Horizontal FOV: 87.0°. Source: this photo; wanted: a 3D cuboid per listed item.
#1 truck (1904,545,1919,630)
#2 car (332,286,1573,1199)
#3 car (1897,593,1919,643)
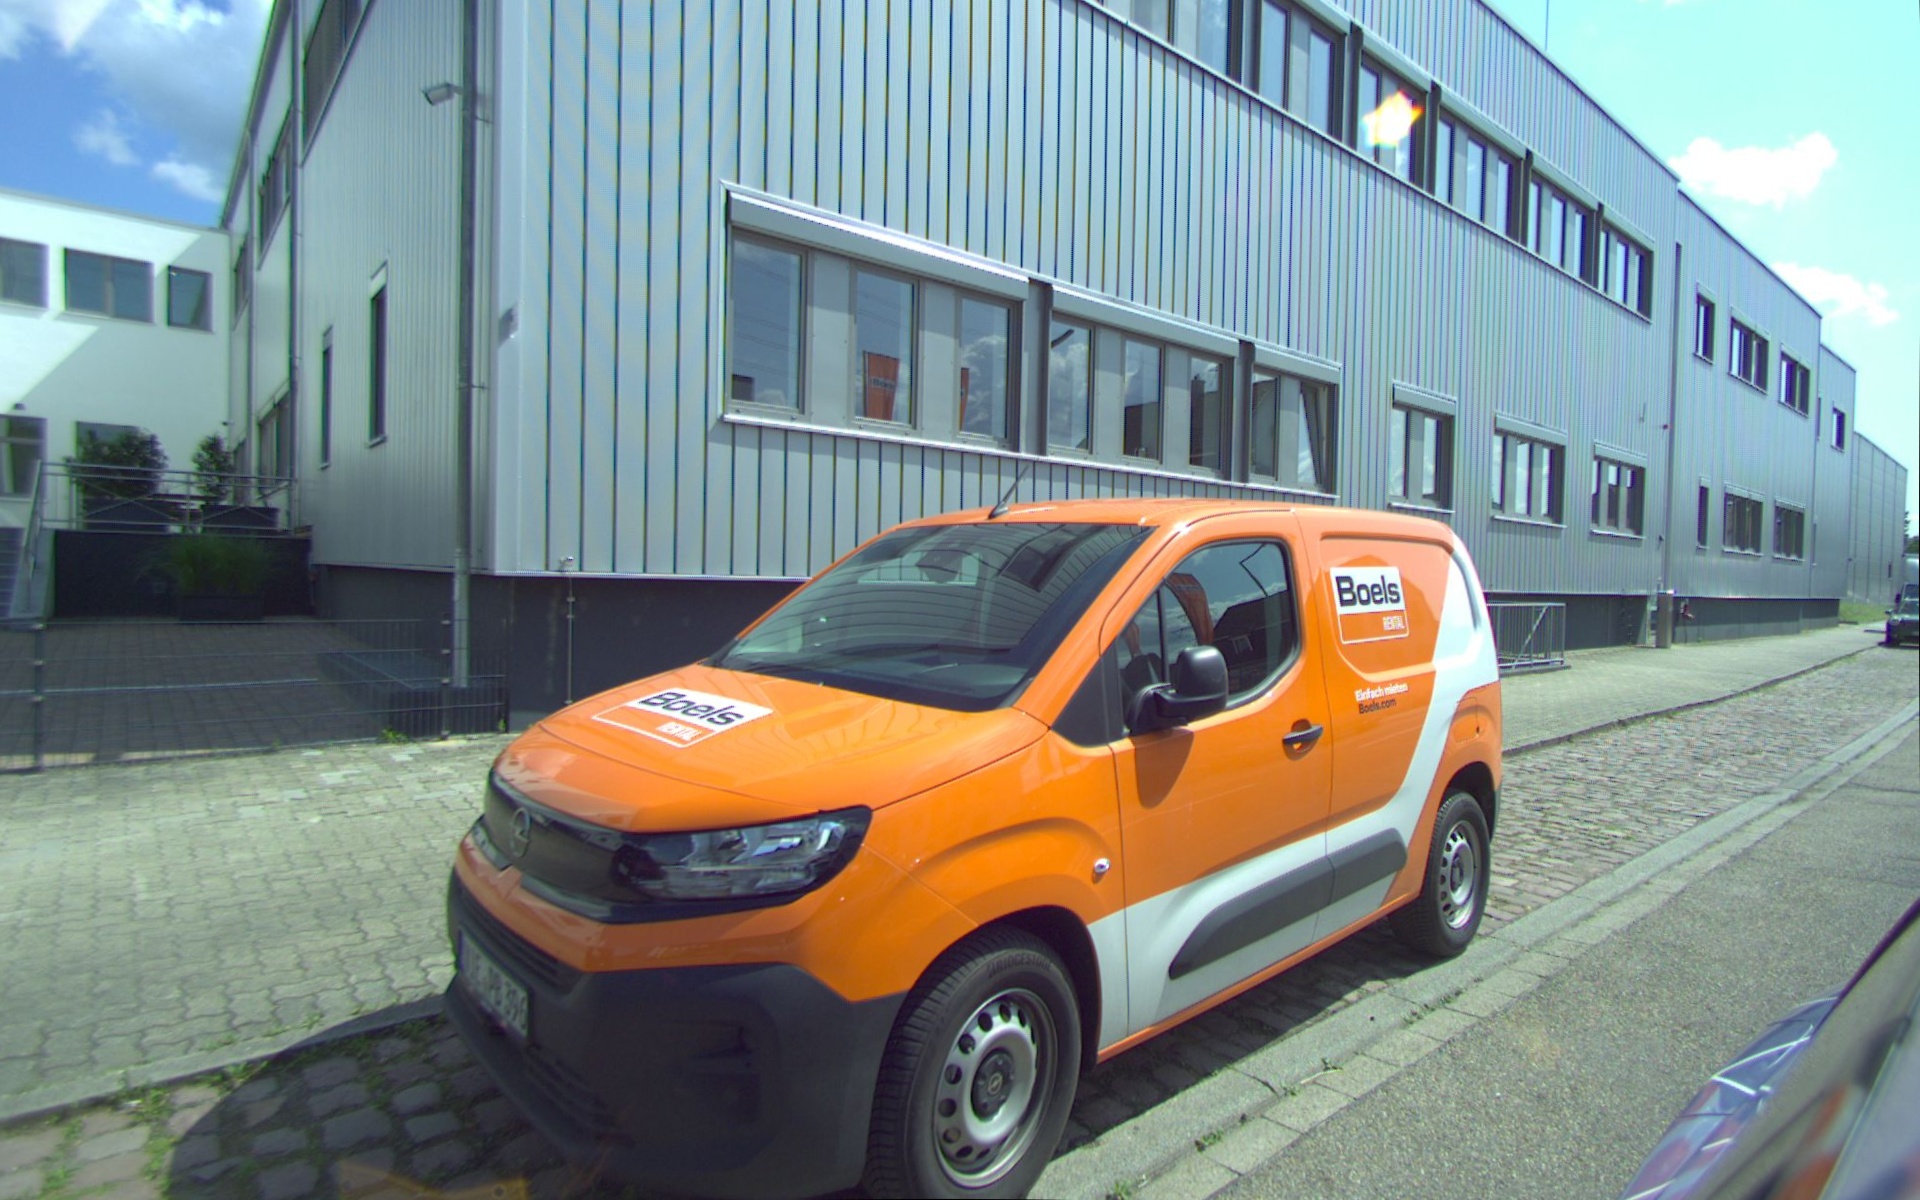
[{"bbox_3d":[40.179,-0.523,41.034,2.600,3.267,7.950,-1,-1,44],"label":"truck"},{"bbox_3d":[0.439,0.501,3.689,4.377,1.917,1.873,0,-2,-43],"label":"car"},{"bbox_3d":[30.810,0.525,31.795,4.046,1.530,1.711,0,-1,-43],"label":"car"}]
